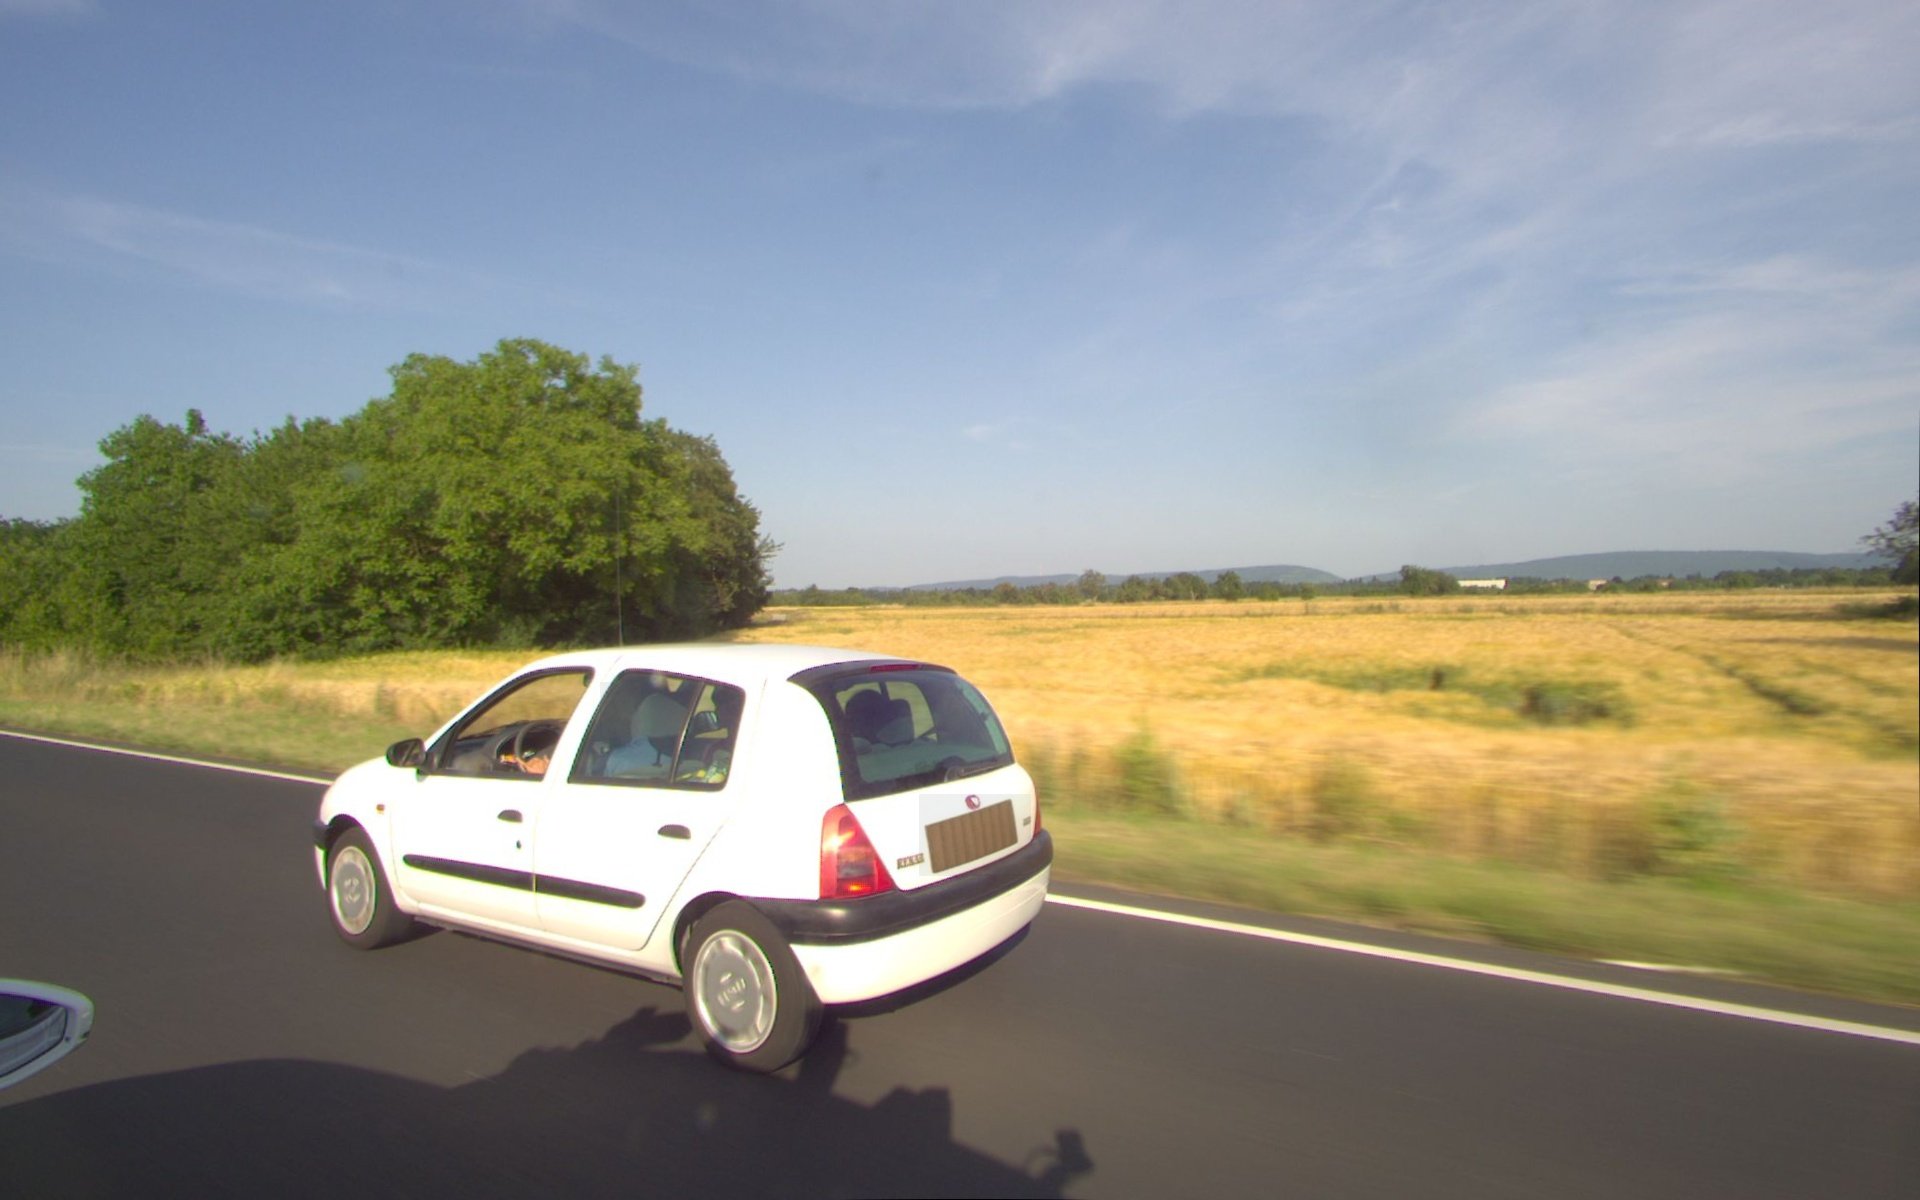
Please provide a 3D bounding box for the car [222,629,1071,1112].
[{"bbox_3d":[-1.595,0.860,4.644,3.895,1.405,1.615,-2,-2,32],"label":"car"}]
